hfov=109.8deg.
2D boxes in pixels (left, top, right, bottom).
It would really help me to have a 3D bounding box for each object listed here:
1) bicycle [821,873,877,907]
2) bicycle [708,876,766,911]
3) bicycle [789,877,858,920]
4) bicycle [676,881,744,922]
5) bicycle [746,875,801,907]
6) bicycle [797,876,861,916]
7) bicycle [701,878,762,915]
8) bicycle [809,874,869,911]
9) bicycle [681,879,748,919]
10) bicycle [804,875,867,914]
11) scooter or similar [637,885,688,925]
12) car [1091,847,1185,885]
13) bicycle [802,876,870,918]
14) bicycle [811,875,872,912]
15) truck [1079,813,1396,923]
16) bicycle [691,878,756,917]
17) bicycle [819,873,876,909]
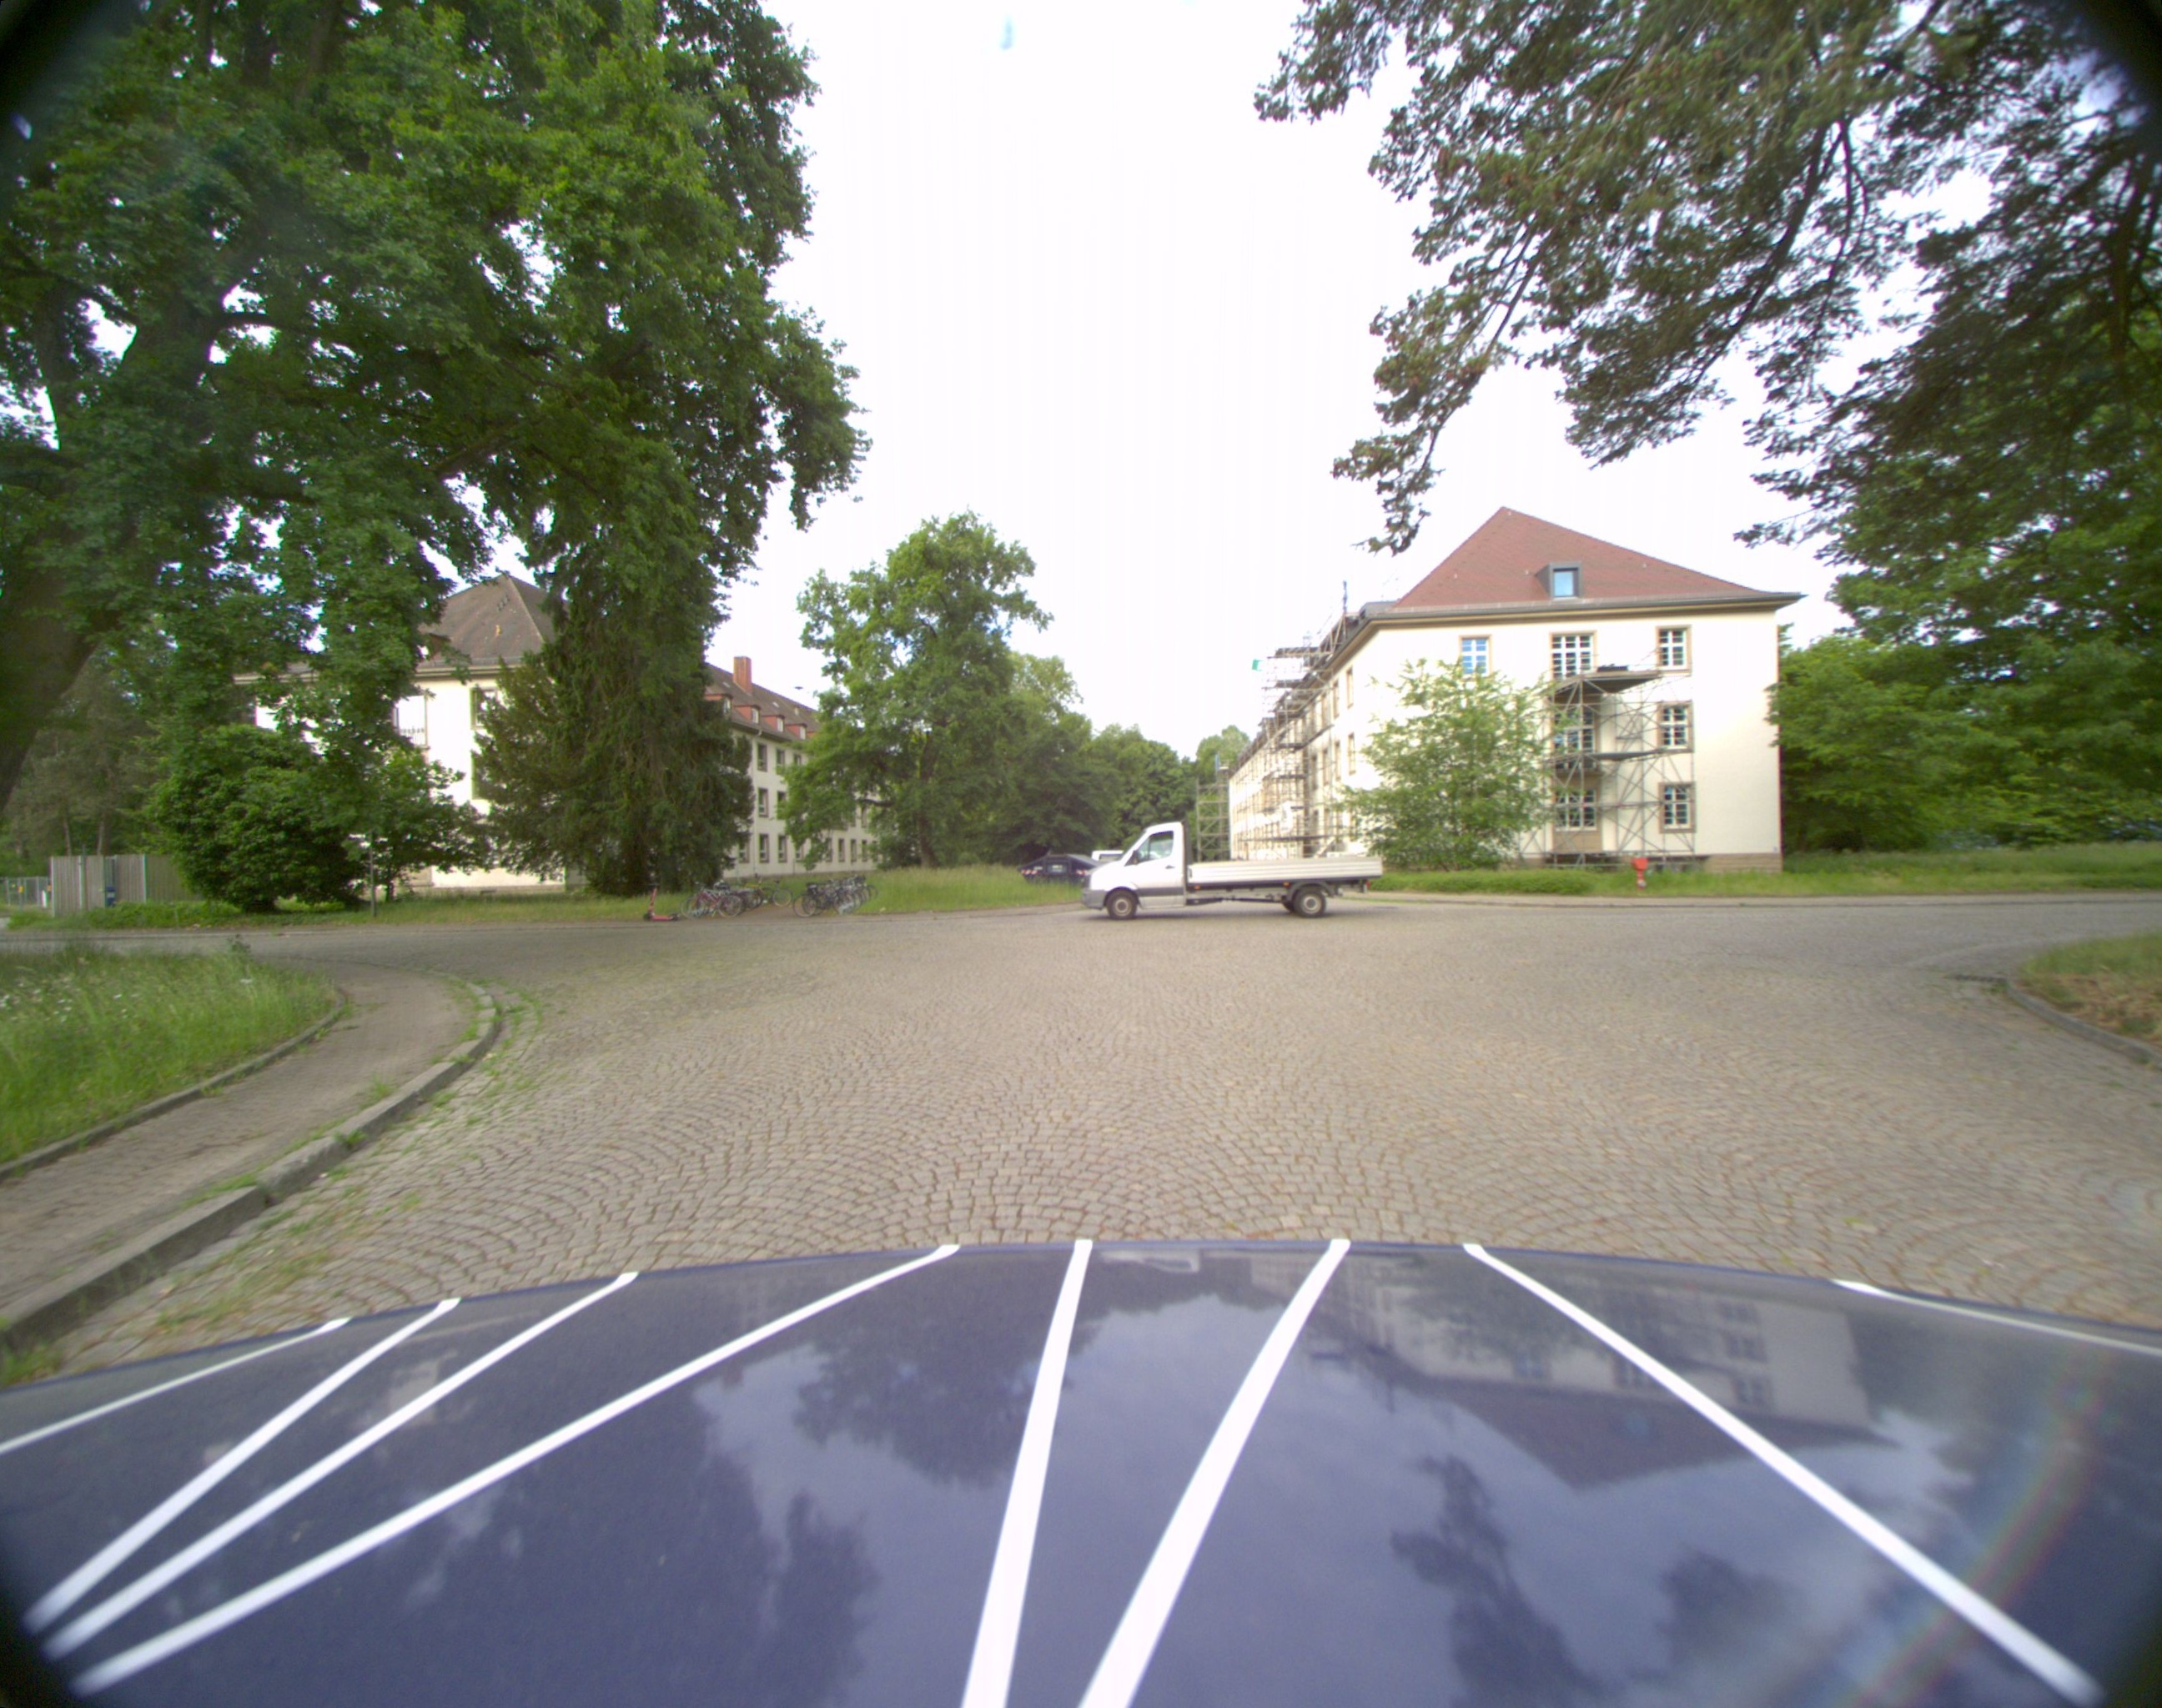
[{"bbox_3d":[-8.887,1.388,29.204,1.940,1.163,0.537,-3,1,-11],"label":"bicycle"},{"bbox_3d":[-12.477,1.426,27.617,1.861,1.163,0.487,-2,0,-24],"label":"bicycle"},{"bbox_3d":[-7.922,1.347,23.396,1.941,1.163,0.487,-4,1,-22],"label":"bicycle"},{"bbox_3d":[-11.733,1.490,24.097,1.861,1.163,0.487,-2,0,-20],"label":"bicycle"},{"bbox_3d":[-11.598,1.376,28.672,1.859,1.163,0.488,0,0,-4],"label":"bicycle"},{"bbox_3d":[-8.291,1.363,25.032,1.941,1.163,0.487,-4,1,-20],"label":"bicycle"},{"bbox_3d":[-12.018,1.442,26.178,1.861,1.163,0.487,-2,0,-24],"label":"bicycle"},{"bbox_3d":[-8.688,1.380,27.326,1.941,1.163,0.487,-3,1,-17],"label":"bicycle"},{"bbox_3d":[-11.884,1.438,24.680,1.861,1.163,0.487,-2,0,-20],"label":"bicycle"},{"bbox_3d":[-8.295,1.362,25.649,1.941,1.163,0.487,-4,1,-20],"label":"bicycle"},{"bbox_3d":[-12.888,1.570,23.419,1.307,1.163,0.413,-3,1,4],"label":"scooter or similar"},{"bbox_3d":[3.232,0.639,42.899,5.147,2.002,2.001,-1,1,5],"label":"car"},{"bbox_3d":[-7.748,1.335,24.060,1.941,1.163,0.487,-4,1,-22],"label":"bicycle"},{"bbox_3d":[-8.321,1.362,26.434,1.941,1.163,0.487,-3,1,-17],"label":"bicycle"},{"bbox_3d":[3.595,0.360,18.345,7.080,2.352,1.994,-2,-1,5],"label":"truck"},{"bbox_3d":[-11.944,1.440,25.401,1.860,1.163,0.487,-2,0,-16],"label":"bicycle"},{"bbox_3d":[-8.564,1.342,27.930,1.941,1.163,0.487,-3,1,-17],"label":"bicycle"}]
